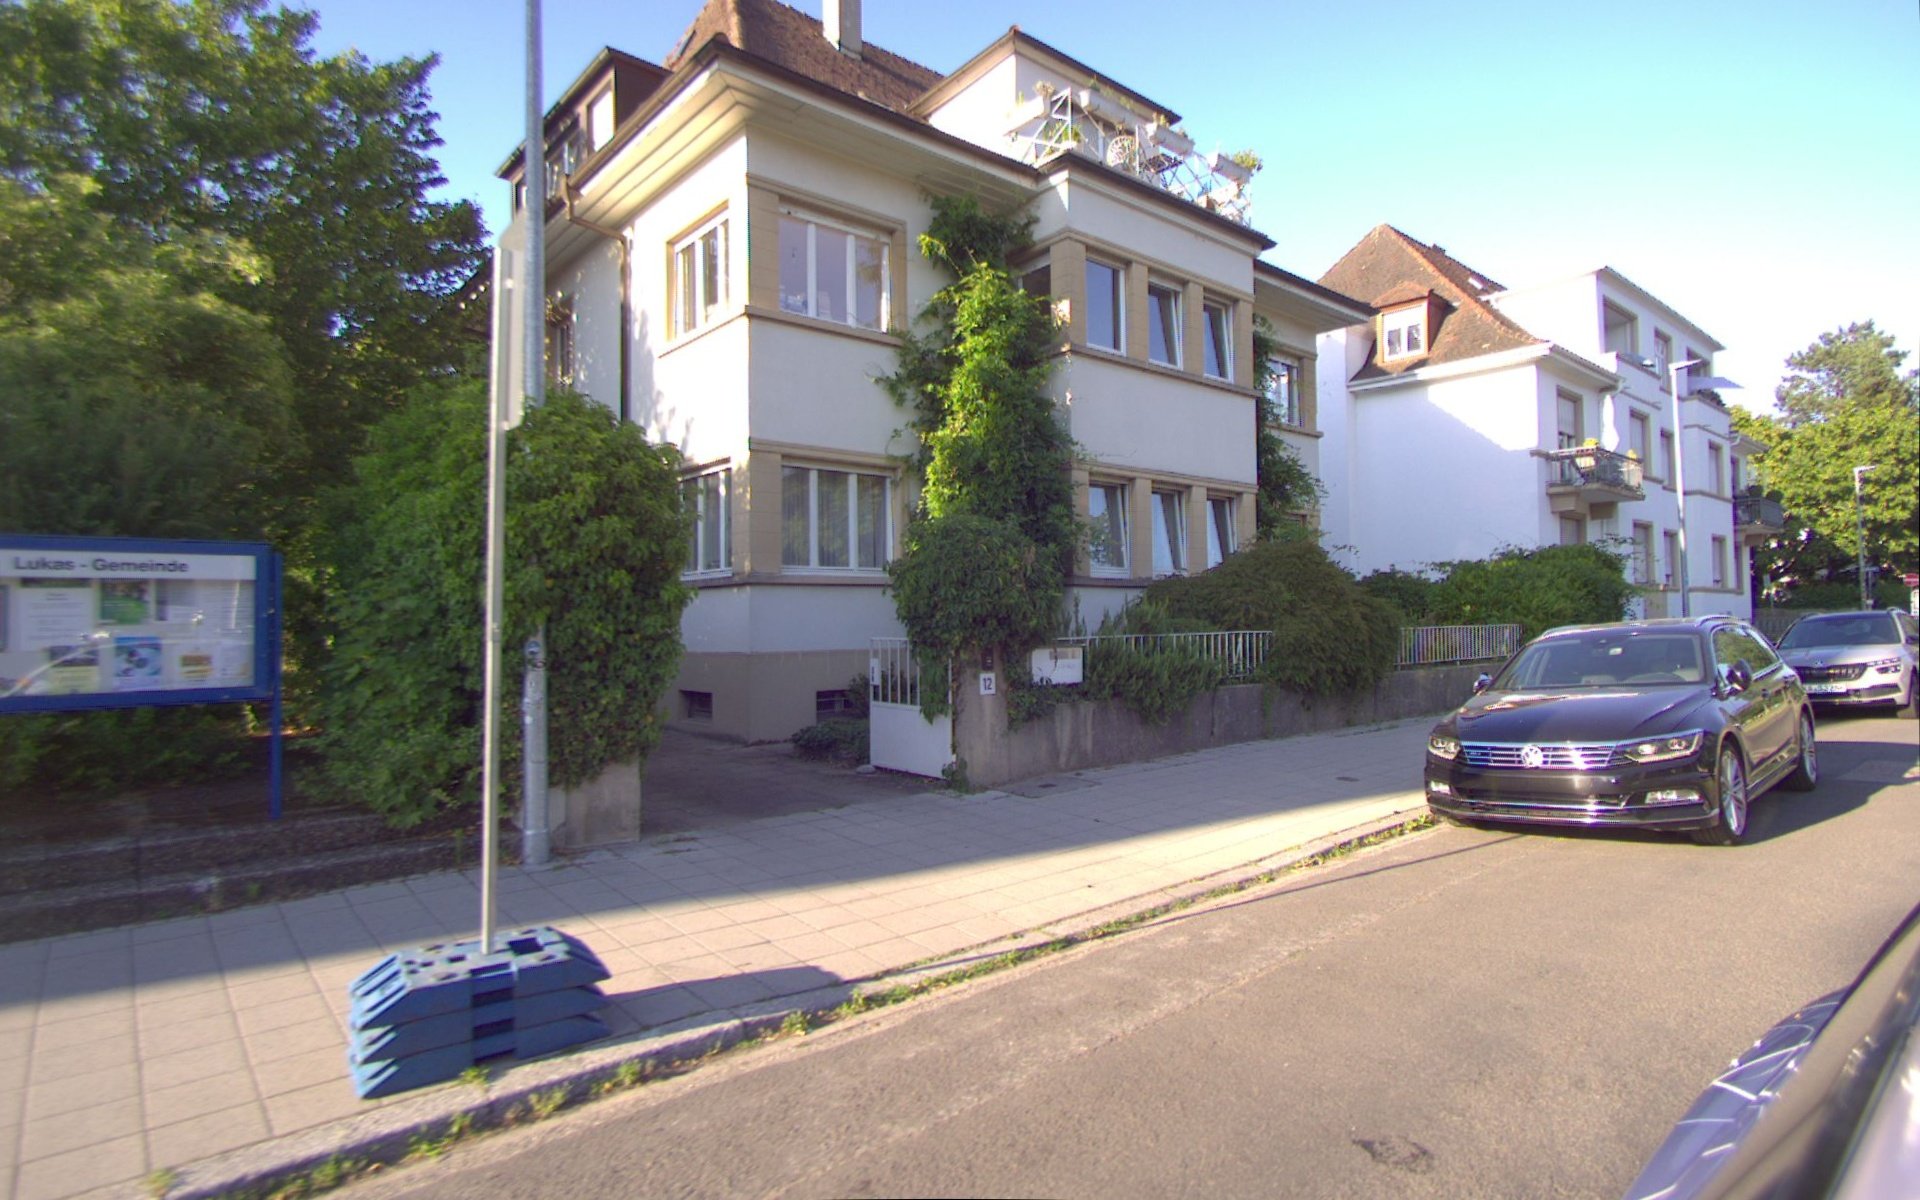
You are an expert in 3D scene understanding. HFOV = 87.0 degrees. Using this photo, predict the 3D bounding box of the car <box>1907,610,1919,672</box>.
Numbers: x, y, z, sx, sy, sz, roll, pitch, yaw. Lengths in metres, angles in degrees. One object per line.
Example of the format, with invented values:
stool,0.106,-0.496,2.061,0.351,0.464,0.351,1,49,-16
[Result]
car,25.234,0.876,25.298,4.230,1.454,1.764,-1,-7,-42

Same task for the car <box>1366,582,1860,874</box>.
car,5.429,0.791,8.118,4.803,1.618,1.995,-1,-5,-42

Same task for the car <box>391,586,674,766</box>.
car,-5.006,0.757,11.544,1.841,1.668,3.993,0,-2,-41

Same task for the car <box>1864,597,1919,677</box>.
car,21.315,0.753,21.881,4.485,1.580,1.913,1,-7,-40

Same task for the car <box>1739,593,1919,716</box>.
car,13.607,0.745,15.247,4.382,1.556,1.886,-2,-4,-39
